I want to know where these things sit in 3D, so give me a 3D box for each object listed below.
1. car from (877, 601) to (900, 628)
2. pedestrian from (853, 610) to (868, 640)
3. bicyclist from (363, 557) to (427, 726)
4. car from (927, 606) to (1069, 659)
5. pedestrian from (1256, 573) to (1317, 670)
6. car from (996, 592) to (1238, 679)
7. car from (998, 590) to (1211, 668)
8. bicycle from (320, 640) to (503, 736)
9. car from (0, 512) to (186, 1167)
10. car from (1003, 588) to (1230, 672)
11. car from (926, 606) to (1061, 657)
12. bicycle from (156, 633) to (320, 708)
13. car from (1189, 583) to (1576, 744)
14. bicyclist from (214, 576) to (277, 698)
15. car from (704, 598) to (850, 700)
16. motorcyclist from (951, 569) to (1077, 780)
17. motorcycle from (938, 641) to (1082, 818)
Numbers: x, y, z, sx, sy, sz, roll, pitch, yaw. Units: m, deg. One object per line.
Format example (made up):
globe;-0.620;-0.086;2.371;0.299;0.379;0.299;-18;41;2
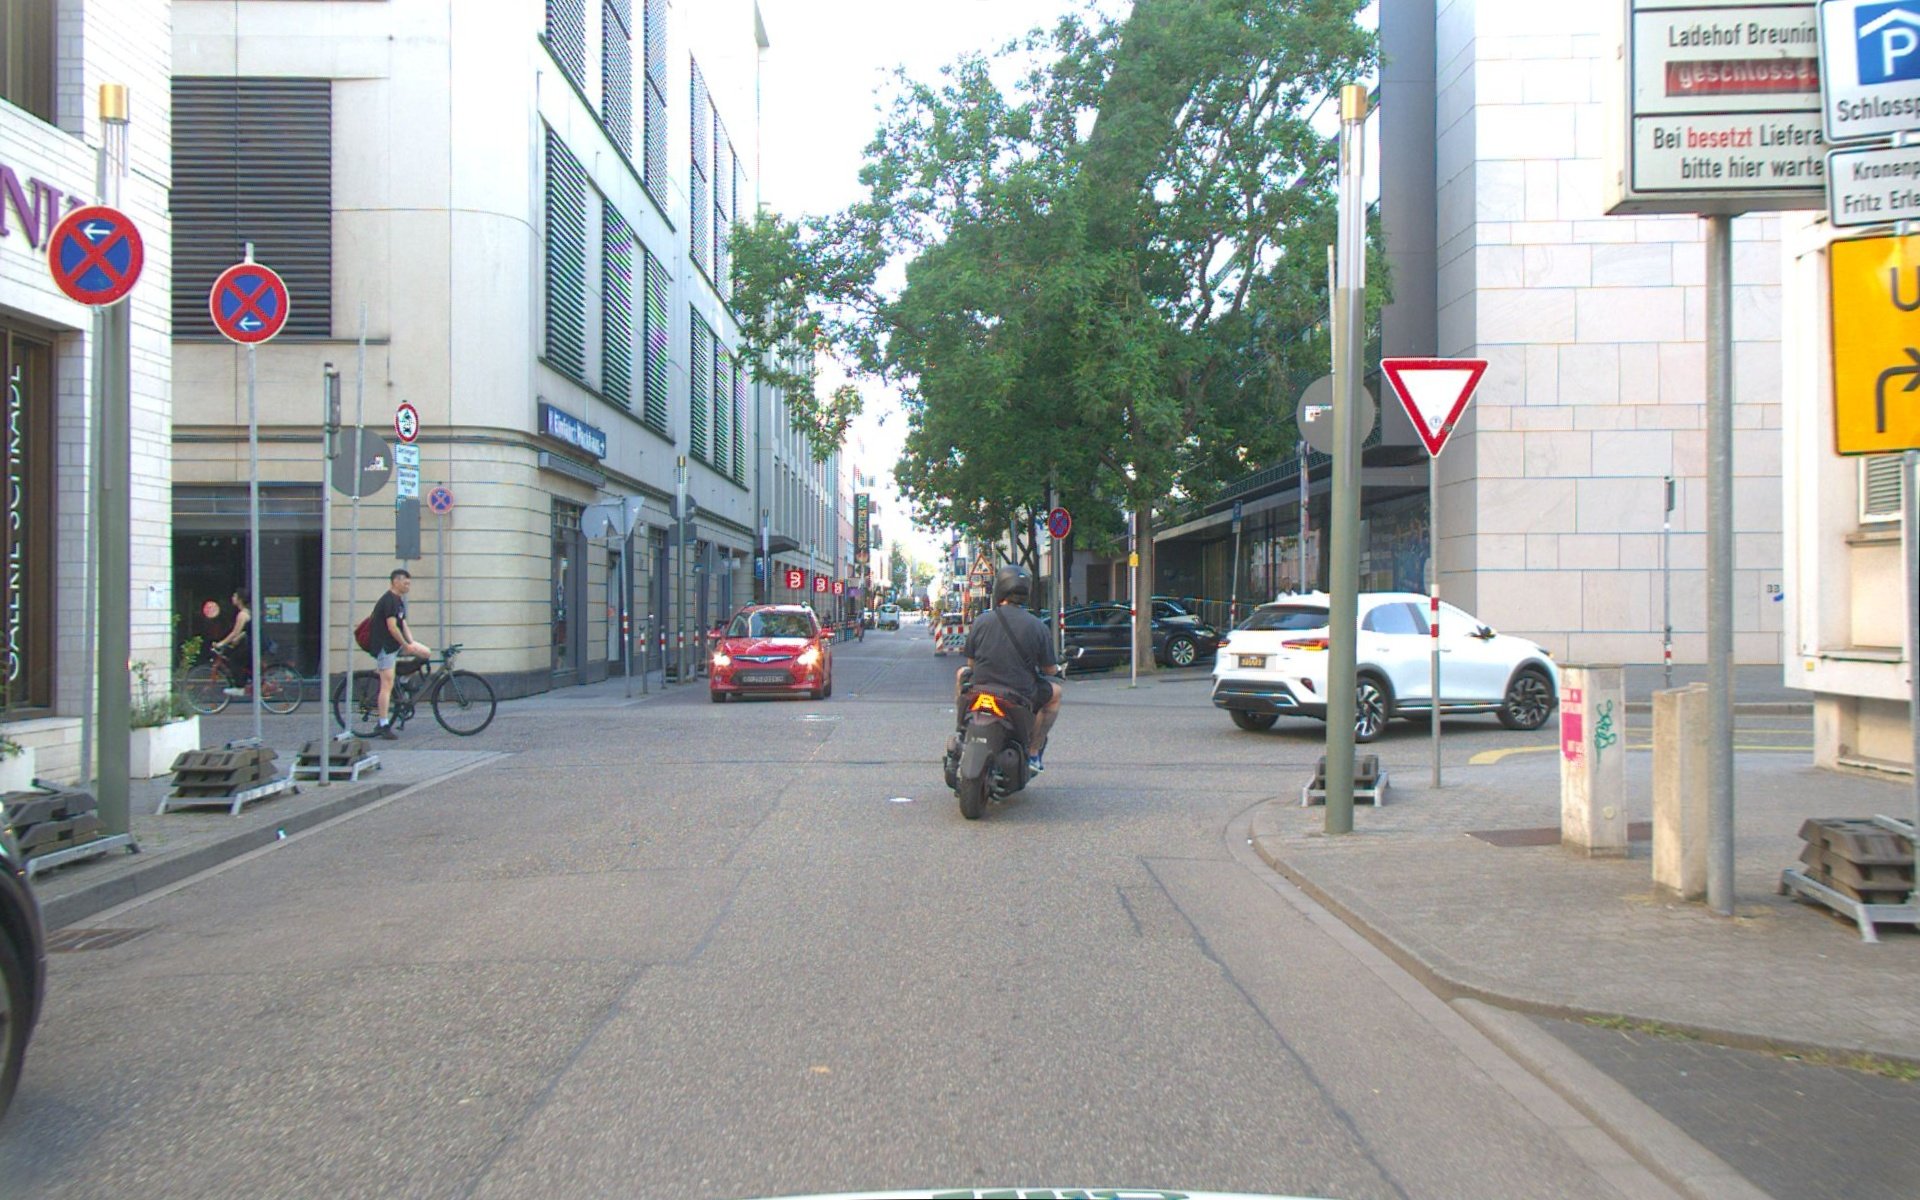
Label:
car;-6.434;1.294;148.159;1.954;2.370;5.017;1;0;-3
pedestrian;-5.366;1.361;89.250;0.717;1.601;0.636;0;-1;0
bicyclist;-6.009;0.440;17.603;0.540;1.762;0.500;1;-1;-9
car;1.338;1.162;59.962;4.906;1.525;1.999;-4;-1;-3
pedestrian;6.070;0.395;30.812;0.887;1.735;0.834;-3;-1;0
car;3.327;0.754;35.708;4.906;1.477;1.999;-4;-1;-3
car;3.498;0.708;40.608;4.906;1.525;1.999;-4;-1;-3
bicycle;-5.820;0.928;17.624;1.781;0.991;0.510;1;-1;-10
car;-3.429;0.667;3.166;1.785;1.707;4.264;-2;0;1
car;3.556;0.682;38.206;4.906;1.525;1.999;-4;-1;-3
car;1.229;1.173;62.550;4.906;1.525;1.999;-4;-1;-3
bicycle;-10.000;0.969;22.930;2.058;1.012;0.519;0;-1;4
car;4.685;0.606;18.156;4.212;1.568;1.807;-1;0;-34
bicyclist;-9.854;0.506;22.829;0.616;1.654;0.498;0;-1;4
car;-2.859;0.801;26.645;1.785;1.491;4.263;0;-2;1
motorcyclist;0.386;0.515;11.644;0.848;1.452;0.456;0;-1;6
motorcycle;0.391;0.863;11.714;0.854;1.129;1.841;0;-1;7
